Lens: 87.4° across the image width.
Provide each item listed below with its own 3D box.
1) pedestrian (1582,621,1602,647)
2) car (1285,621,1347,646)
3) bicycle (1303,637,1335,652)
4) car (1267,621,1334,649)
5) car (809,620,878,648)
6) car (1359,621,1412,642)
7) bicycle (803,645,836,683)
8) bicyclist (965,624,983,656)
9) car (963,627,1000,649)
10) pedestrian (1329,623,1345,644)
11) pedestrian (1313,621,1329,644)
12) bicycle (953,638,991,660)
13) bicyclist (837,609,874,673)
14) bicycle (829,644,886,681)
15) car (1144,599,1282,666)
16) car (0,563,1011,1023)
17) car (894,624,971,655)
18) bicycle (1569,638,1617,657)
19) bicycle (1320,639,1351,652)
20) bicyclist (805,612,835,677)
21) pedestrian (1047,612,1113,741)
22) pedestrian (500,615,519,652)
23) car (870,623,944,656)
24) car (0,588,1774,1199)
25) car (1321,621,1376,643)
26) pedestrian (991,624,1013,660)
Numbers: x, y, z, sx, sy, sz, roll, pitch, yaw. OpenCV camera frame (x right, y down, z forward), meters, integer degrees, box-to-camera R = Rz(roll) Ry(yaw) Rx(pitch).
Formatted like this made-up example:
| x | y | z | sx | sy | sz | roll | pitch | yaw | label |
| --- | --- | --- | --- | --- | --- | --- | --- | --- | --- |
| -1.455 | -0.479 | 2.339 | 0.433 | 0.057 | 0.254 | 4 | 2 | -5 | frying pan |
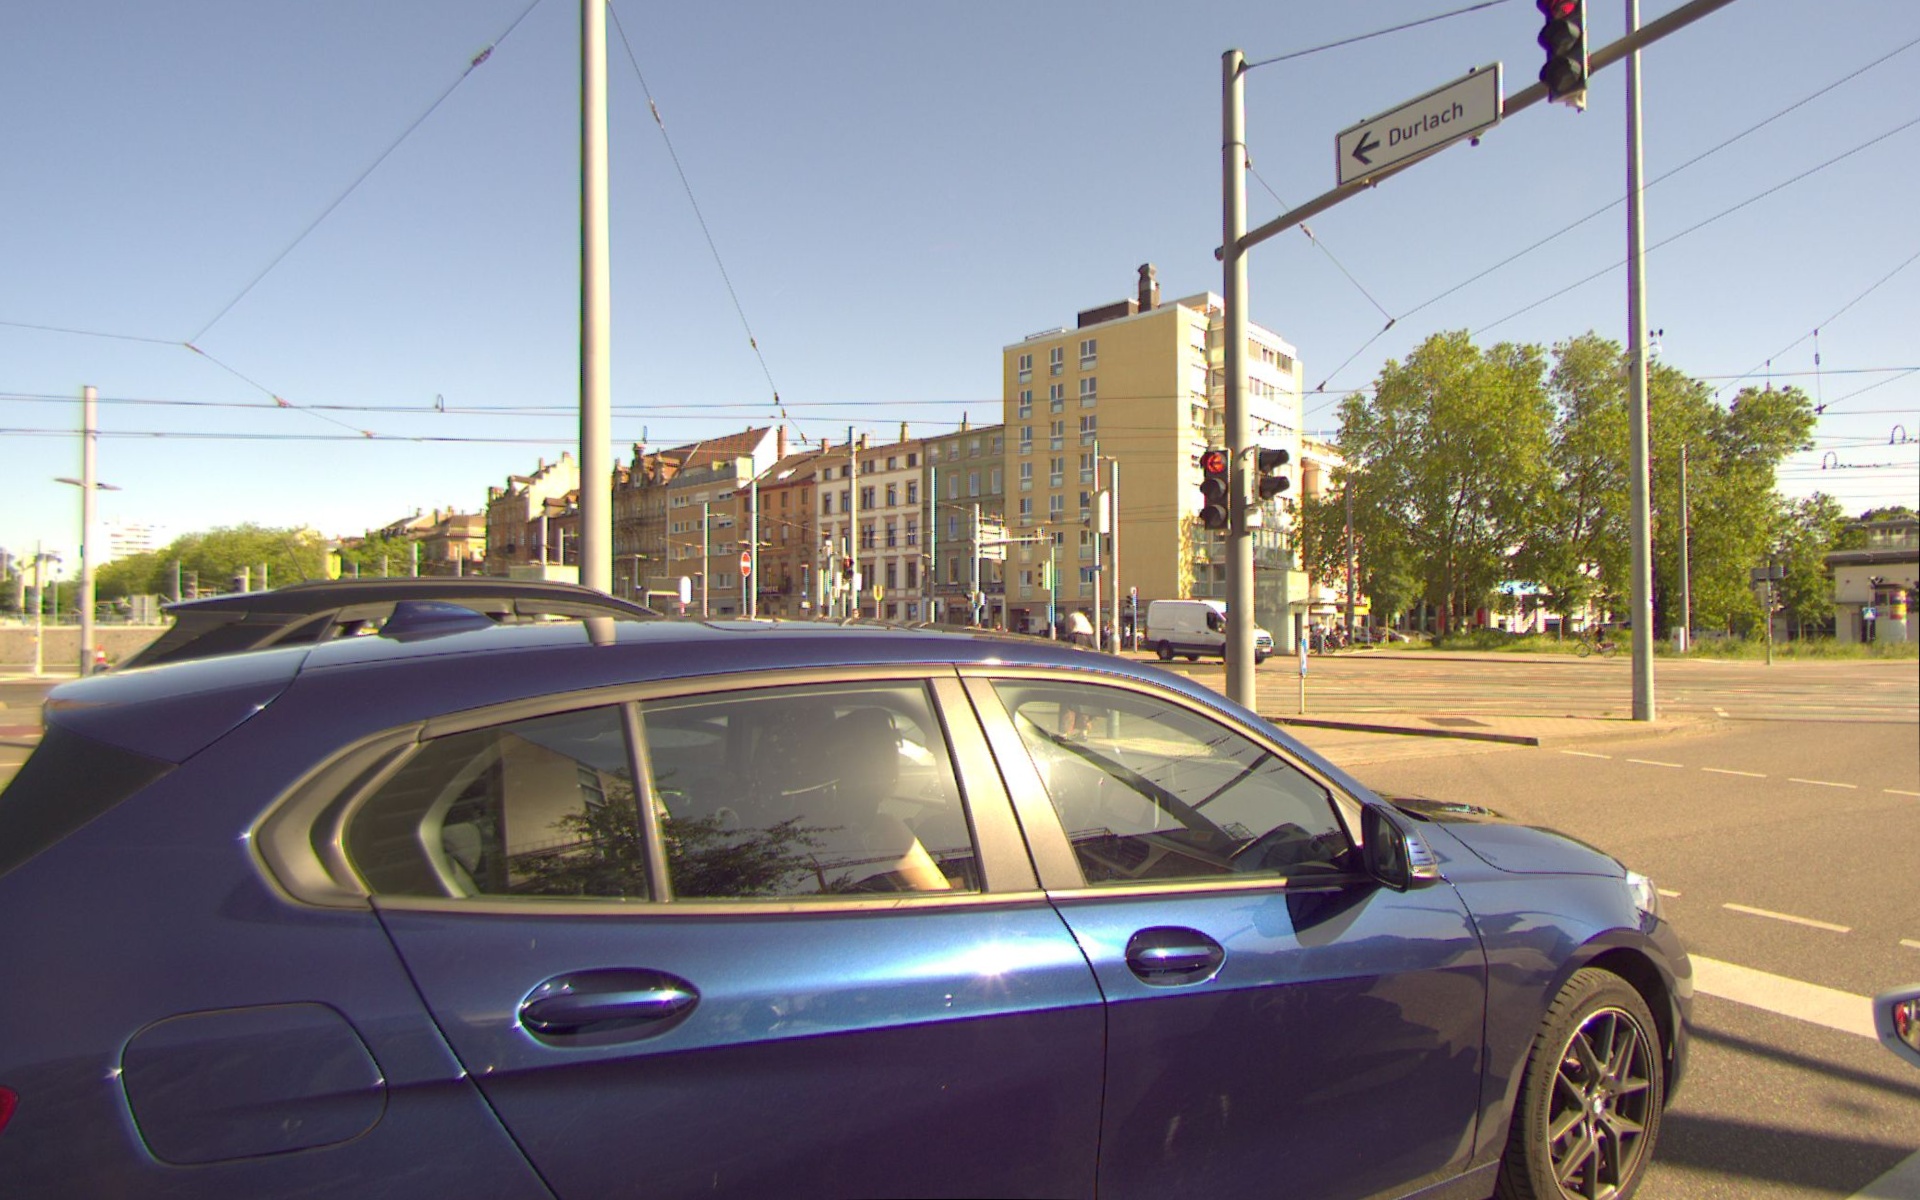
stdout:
| x | y | z | sx | sy | sz | roll | pitch | yaw | label |
| --- | --- | --- | --- | --- | --- | --- | --- | --- | --- |
| 30.831 | 1.657 | 49.009 | 0.783 | 1.220 | 0.559 | -1 | -1 | 34 | pedestrian |
| 24.420 | 2.298 | 68.986 | 3.691 | 1.684 | 1.586 | -1 | -2 | 42 | car |
| 19.663 | 2.443 | 54.970 | 1.609 | 0.769 | 0.422 | -1 | -2 | 38 | bicycle |
| 21.600 | 2.212 | 63.792 | 3.691 | 1.684 | 1.586 | -1 | -2 | 42 | car |
| -7.204 | 2.067 | 62.083 | 4.244 | 1.675 | 1.849 | -1 | -2 | 40 | car |
| 34.875 | 2.592 | 82.336 | 3.691 | 1.684 | 1.586 | -1 | -2 | 42 | car |
| -3.656 | 1.643 | 26.086 | 0.667 | 0.890 | 1.893 | 0 | -2 | -14 | bicycle |
| 0.638 | 1.844 | 46.287 | 0.609 | 1.462 | 0.614 | 1 | -1 | -30 | bicyclist |
| 1.378 | 2.494 | 67.000 | 1.745 | 1.446 | 3.873 | 0 | -2 | -10 | car |
| 20.979 | 1.869 | 55.929 | 0.739 | 1.142 | 0.422 | -1 | -2 | 41 | pedestrian |
| 19.742 | 1.779 | 54.921 | 0.738 | 1.220 | 0.422 | -1 | -2 | 38 | pedestrian |
| 0.550 | 2.251 | 46.221 | 1.666 | 0.958 | 0.614 | 1 | -2 | -30 | bicycle |
| -2.778 | 1.084 | 26.705 | 0.672 | 1.676 | 0.777 | 1 | -1 | -35 | bicyclist |
| -2.727 | 1.635 | 26.591 | 0.672 | 0.890 | 1.880 | 1 | -2 | -35 | bicycle |
| 10.112 | 1.294 | 40.525 | 1.982 | 2.541 | 5.361 | 1 | -2 | -38 | car |
| -1.885 | 0.683 | 5.063 | 3.959 | 1.537 | 1.751 | 1 | -1 | -28 | car |
| -1.565 | 2.209 | 56.349 | 4.246 | 1.675 | 1.848 | -1 | -2 | 42 | car |
| 30.856 | 2.308 | 48.977 | 1.978 | 0.925 | 0.561 | -1 | -2 | 34 | bicycle |
| 20.909 | 2.528 | 55.970 | 1.610 | 0.727 | 0.422 | -1 | -2 | 41 | bicycle |
| -3.644 | 1.151 | 26.115 | 0.667 | 1.676 | 0.783 | 0 | -1 | -14 | bicyclist |
| 1.504 | 0.941 | 12.600 | 0.750 | 1.575 | 0.355 | 1 | -1 | -24 | pedestrian |
| -21.629 | 1.591 | 48.216 | 0.672 | 1.735 | 0.793 | 1 | -1 | -38 | pedestrian |
| -2.853 | 2.078 | 53.530 | 1.857 | 1.681 | 4.022 | 1 | -2 | -42 | car |
| 0.103 | 0.753 | 2.524 | 3.984 | 1.464 | 1.703 | 1 | 0 | -30 | car |
| 29.890 | 2.457 | 77.301 | 3.691 | 1.684 | 1.586 | -1 | -2 | 42 | car |
| 1.869 | 1.886 | 45.116 | 0.669 | 1.593 | 0.740 | 1 | -2 | -45 | pedestrian |
